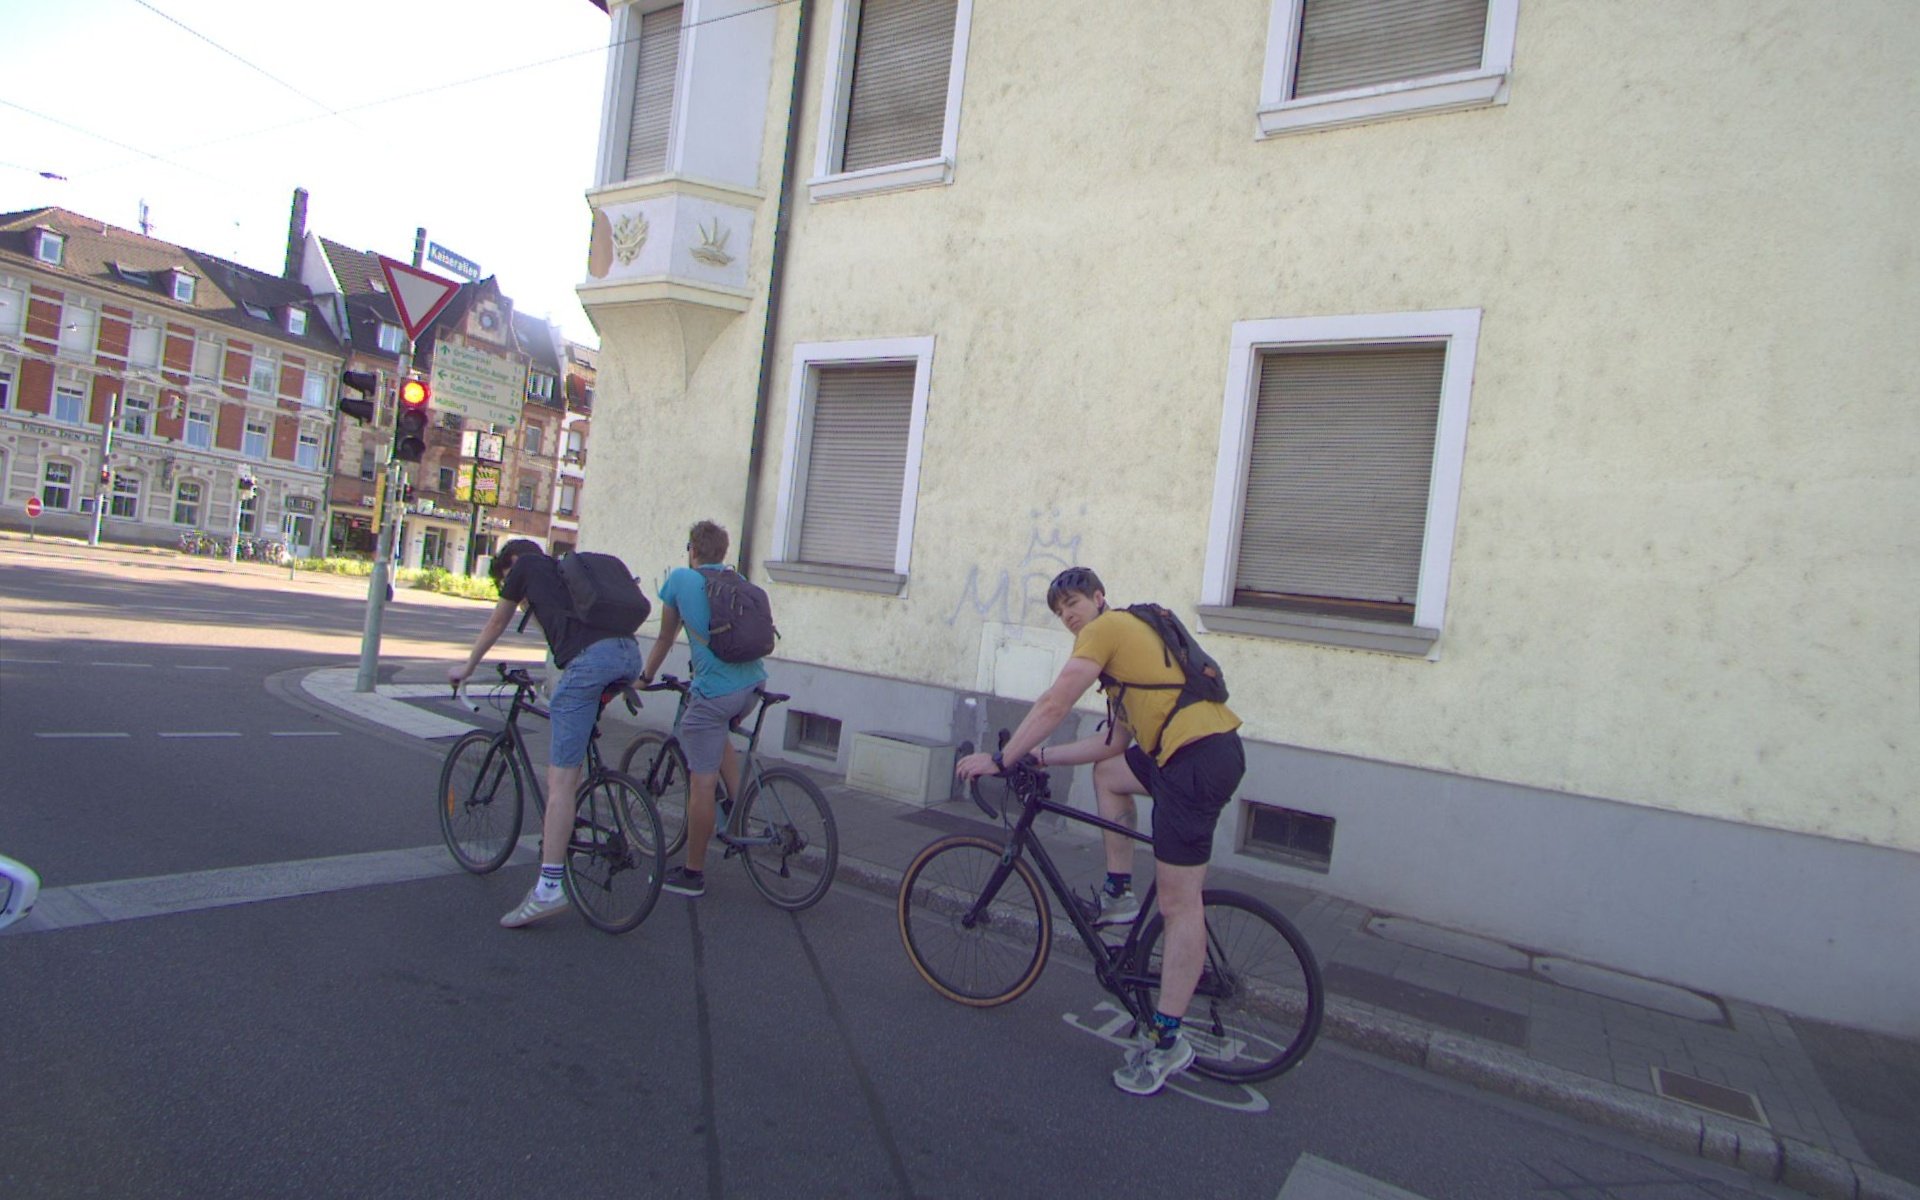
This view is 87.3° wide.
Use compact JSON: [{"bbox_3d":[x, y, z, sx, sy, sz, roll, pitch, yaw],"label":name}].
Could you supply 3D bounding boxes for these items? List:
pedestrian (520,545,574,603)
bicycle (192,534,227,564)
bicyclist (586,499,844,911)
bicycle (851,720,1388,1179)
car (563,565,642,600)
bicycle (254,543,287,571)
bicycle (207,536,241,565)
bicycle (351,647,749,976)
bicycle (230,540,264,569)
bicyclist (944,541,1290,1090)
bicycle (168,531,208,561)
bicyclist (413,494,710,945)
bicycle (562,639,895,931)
[{"bbox_3d":[-16.572,-1.041,40.381,1.285,2.068,1.321,7,0,31],"label":"pedestrian"},{"bbox_3d":[-34.552,-2.358,46.285,2.140,1.157,0.618,7,0,37],"label":"bicycle"},{"bbox_3d":[-1.280,0.495,5.250,0.961,1.917,0.602,6,-1,34],"label":"bicyclist"},{"bbox_3d":[0.542,1.143,3.770,1.780,1.101,0.611,7,0,32],"label":"bicycle"},{"bbox_3d":[-23.176,-1.125,65.324,2.116,1.660,4.340,7,-1,31],"label":"car"},{"bbox_3d":[-33.119,-2.069,48.318,2.102,1.150,0.609,7,0,37],"label":"bicycle"},{"bbox_3d":[-34.217,-2.310,46.762,2.140,1.157,0.618,7,0,37],"label":"bicycle"},{"bbox_3d":[-1.924,0.851,4.595,1.897,1.023,0.645,7,0,34],"label":"bicycle"},{"bbox_3d":[-33.684,-2.162,47.514,2.140,1.157,0.618,7,0,37],"label":"bicycle"},{"bbox_3d":[0.590,0.714,3.782,0.939,1.742,0.582,7,0,32],"label":"bicyclist"},{"bbox_3d":[-35.066,-2.447,45.682,2.140,1.157,0.806,7,0,37],"label":"bicycle"},{"bbox_3d":[-1.813,0.469,4.549,1.083,1.775,0.562,7,0,34],"label":"bicyclist"},{"bbox_3d":[-1.264,0.882,5.285,1.784,1.130,0.519,7,0,34],"label":"bicycle"}]
